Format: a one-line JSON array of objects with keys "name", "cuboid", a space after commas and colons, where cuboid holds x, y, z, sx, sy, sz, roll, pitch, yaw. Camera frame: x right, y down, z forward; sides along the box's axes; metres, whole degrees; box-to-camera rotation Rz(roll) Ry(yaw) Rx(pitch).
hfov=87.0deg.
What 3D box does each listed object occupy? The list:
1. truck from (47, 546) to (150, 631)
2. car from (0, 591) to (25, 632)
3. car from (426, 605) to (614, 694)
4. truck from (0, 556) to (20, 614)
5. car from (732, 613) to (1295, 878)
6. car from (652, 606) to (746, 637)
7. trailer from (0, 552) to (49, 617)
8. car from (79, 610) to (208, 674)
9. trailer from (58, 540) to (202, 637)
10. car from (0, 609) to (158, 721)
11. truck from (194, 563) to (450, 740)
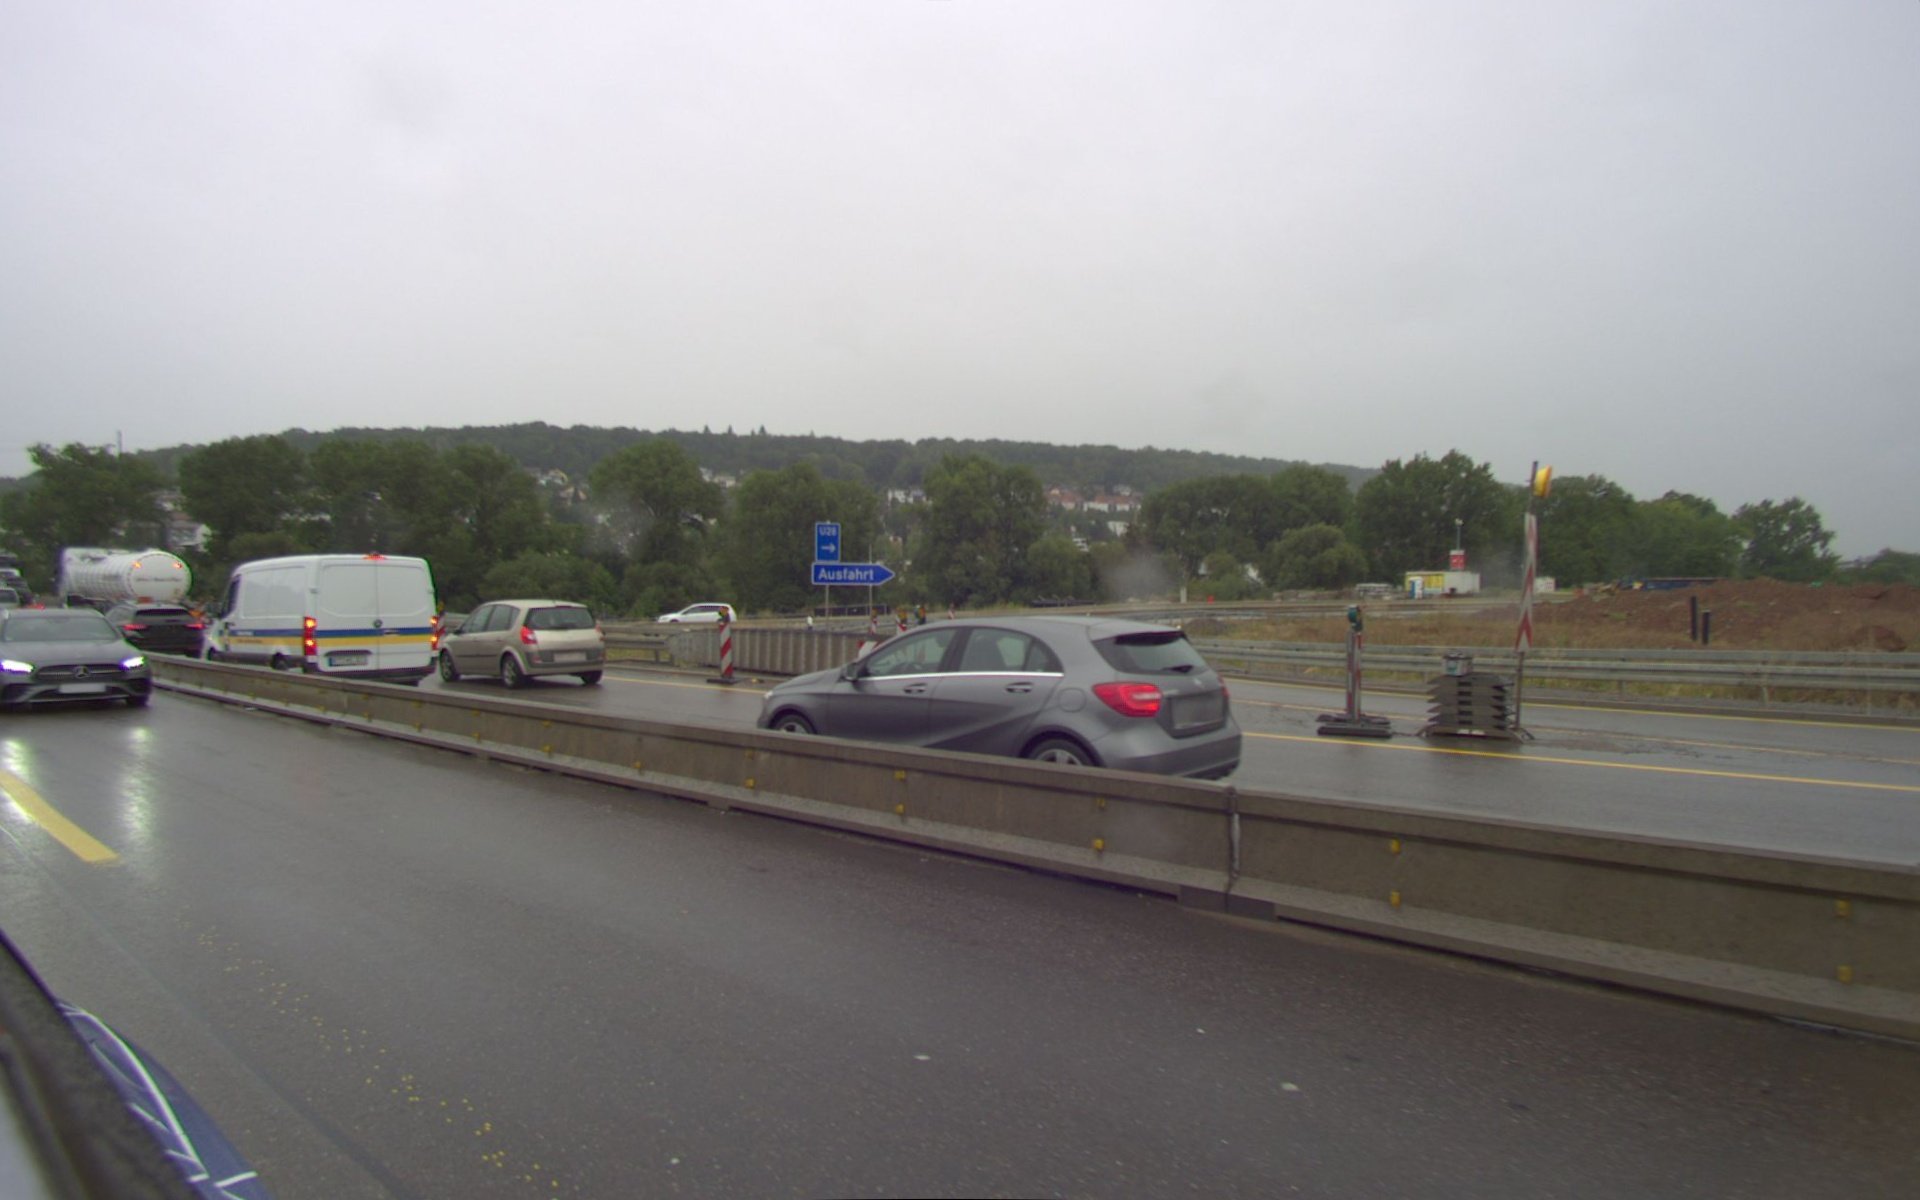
[{"name": "truck", "cuboid": [-39.985, -0.517, 46.911, 6.590, 3.705, 2.594, 0, 0, 40]}, {"name": "car", "cuboid": [-43.501, 0.496, 45.365, 4.160, 1.813, 1.847, 0, 0, 40]}, {"name": "car", "cuboid": [-8.571, 0.882, 19.595, 3.997, 1.558, 1.770, -1, -1, 40]}, {"name": "truck", "cuboid": [-70.906, -1.092, 73.848, 6.144, 4.093, 2.721, 1, 0, 41]}, {"name": "car", "cuboid": [0.226, 0.887, 8.058, 4.309, 1.550, 1.768, 0, -1, 40]}, {"name": "car", "cuboid": [-14.795, 1.193, 57.338, 4.958, 1.713, 1.857, 0, 0, -22]}, {"name": "trailer", "cuboid": [-64.815, -1.035, 68.558, 15.350, 4.072, 2.721, 1, 0, 41]}, {"name": "car", "cuboid": [-21.416, 1.030, 26.479, 4.675, 1.516, 1.754, 0, -1, 40]}, {"name": "trailer", "cuboid": [-35.776, -0.468, 43.359, 11.994, 3.705, 2.594, 0, 0, 40]}, {"name": "car", "cuboid": [-14.316, 0.909, 15.891, 4.482, 1.449, 1.926, 1, 0, 41]}, {"name": "truck", "cuboid": [-11.214, 0.737, 17.560, 5.957, 2.595, 2.057, 1, 0, 40]}]
